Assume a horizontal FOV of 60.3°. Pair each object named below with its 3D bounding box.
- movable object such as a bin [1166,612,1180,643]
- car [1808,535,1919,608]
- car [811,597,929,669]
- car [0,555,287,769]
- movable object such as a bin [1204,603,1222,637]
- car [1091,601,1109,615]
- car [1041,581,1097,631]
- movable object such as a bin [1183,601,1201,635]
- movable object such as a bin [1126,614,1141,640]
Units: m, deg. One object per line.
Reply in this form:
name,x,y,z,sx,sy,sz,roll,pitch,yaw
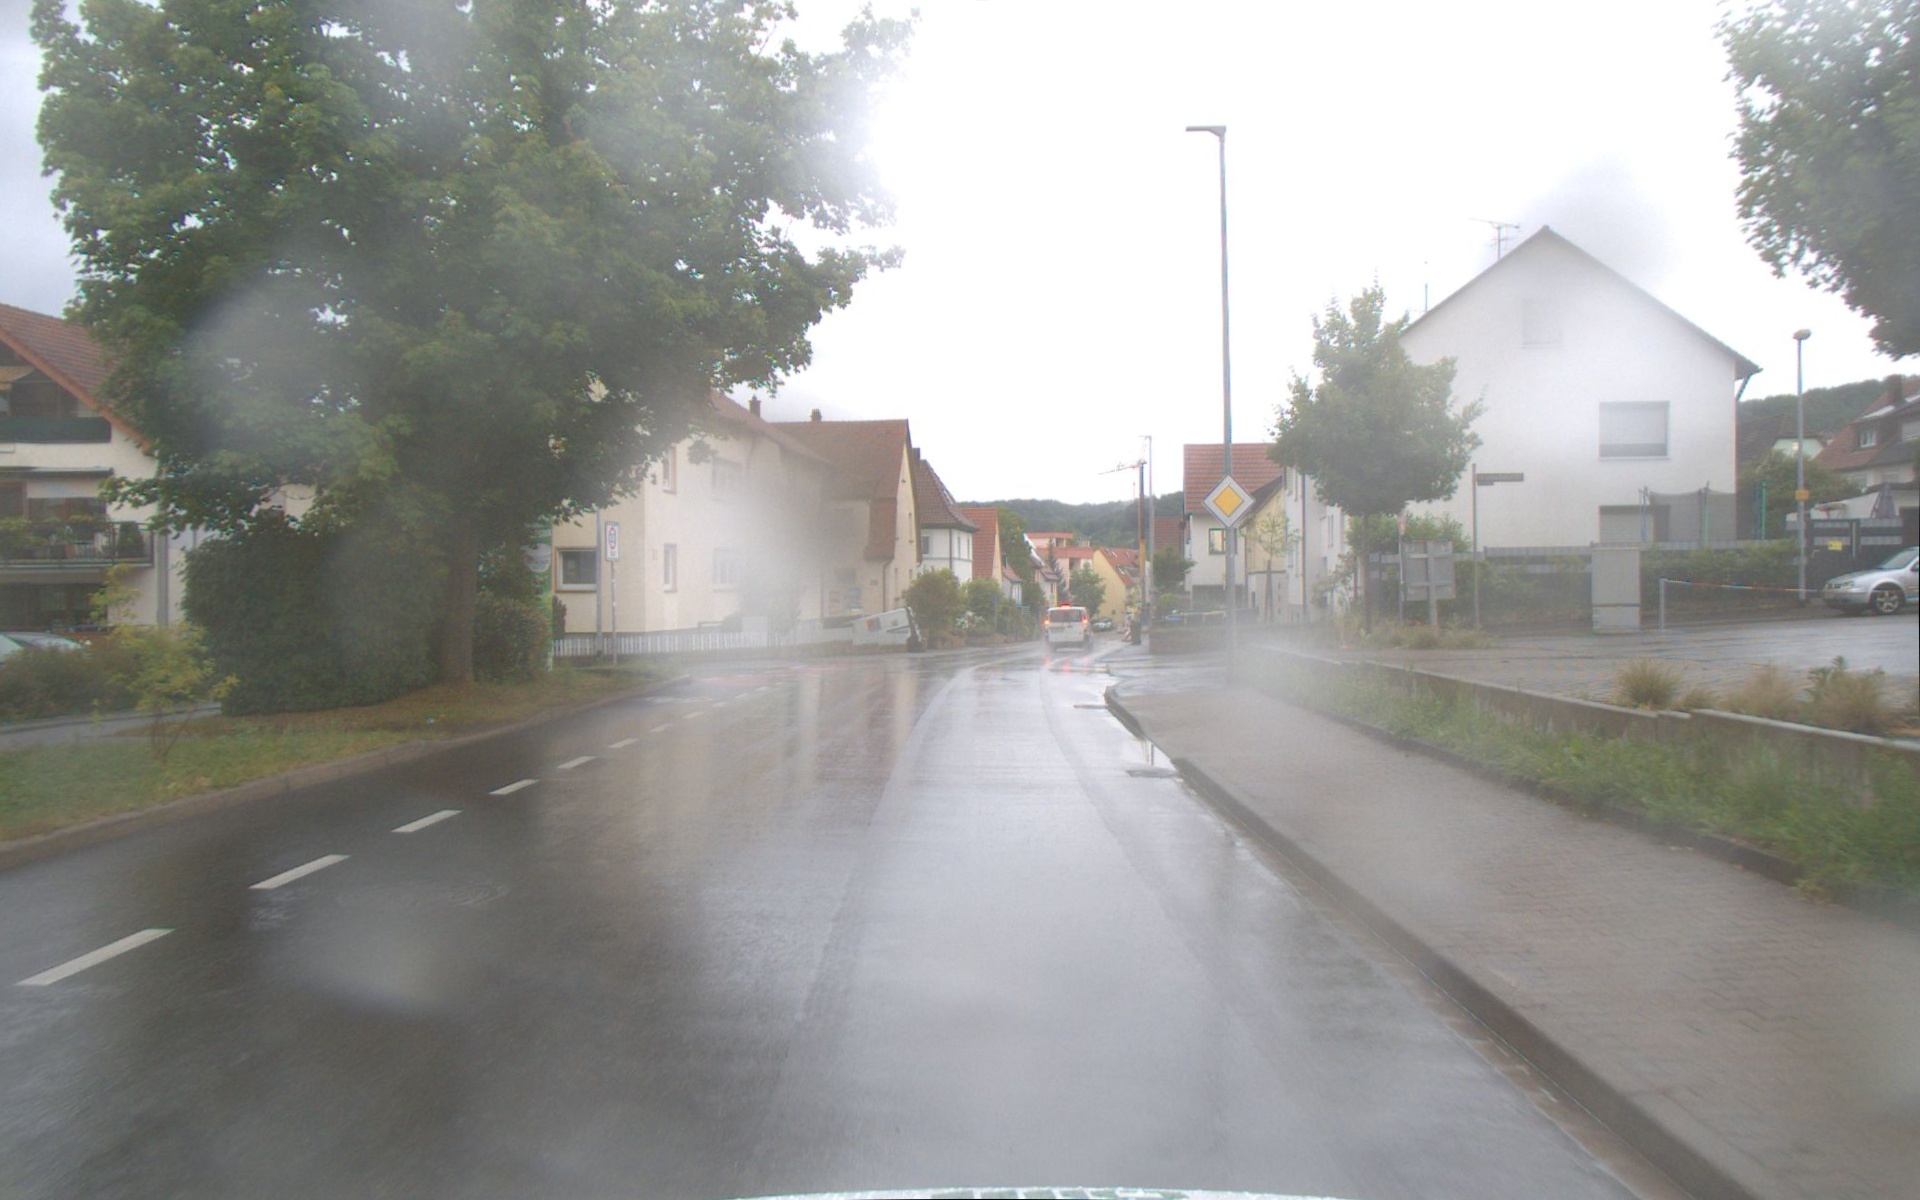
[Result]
movable object such as a bin,6.816,0.882,52.876,0.416,0.956,0.508,1,2,5
car,20.640,-0.640,35.818,3.688,1.480,1.609,-2,0,4
car,-3.804,1.395,70.762,4.466,2.044,2.162,-12,0,6
car,-6.763,0.483,12.449,2.849,1.480,1.253,-2,-2,-1
movable object such as a bin,8.061,0.633,52.747,0.517,1.046,0.632,1,2,5
car,18.061,0.988,212.876,1.802,1.606,4.294,1,2,11
car,4.640,0.229,70.074,2.072,1.920,4.506,1,2,7
movable object such as a bin,7.406,0.586,52.778,0.533,1.046,0.632,1,2,5
movable object such as a bin,9.287,1.448,88.523,0.729,1.301,0.883,-1,2,7
